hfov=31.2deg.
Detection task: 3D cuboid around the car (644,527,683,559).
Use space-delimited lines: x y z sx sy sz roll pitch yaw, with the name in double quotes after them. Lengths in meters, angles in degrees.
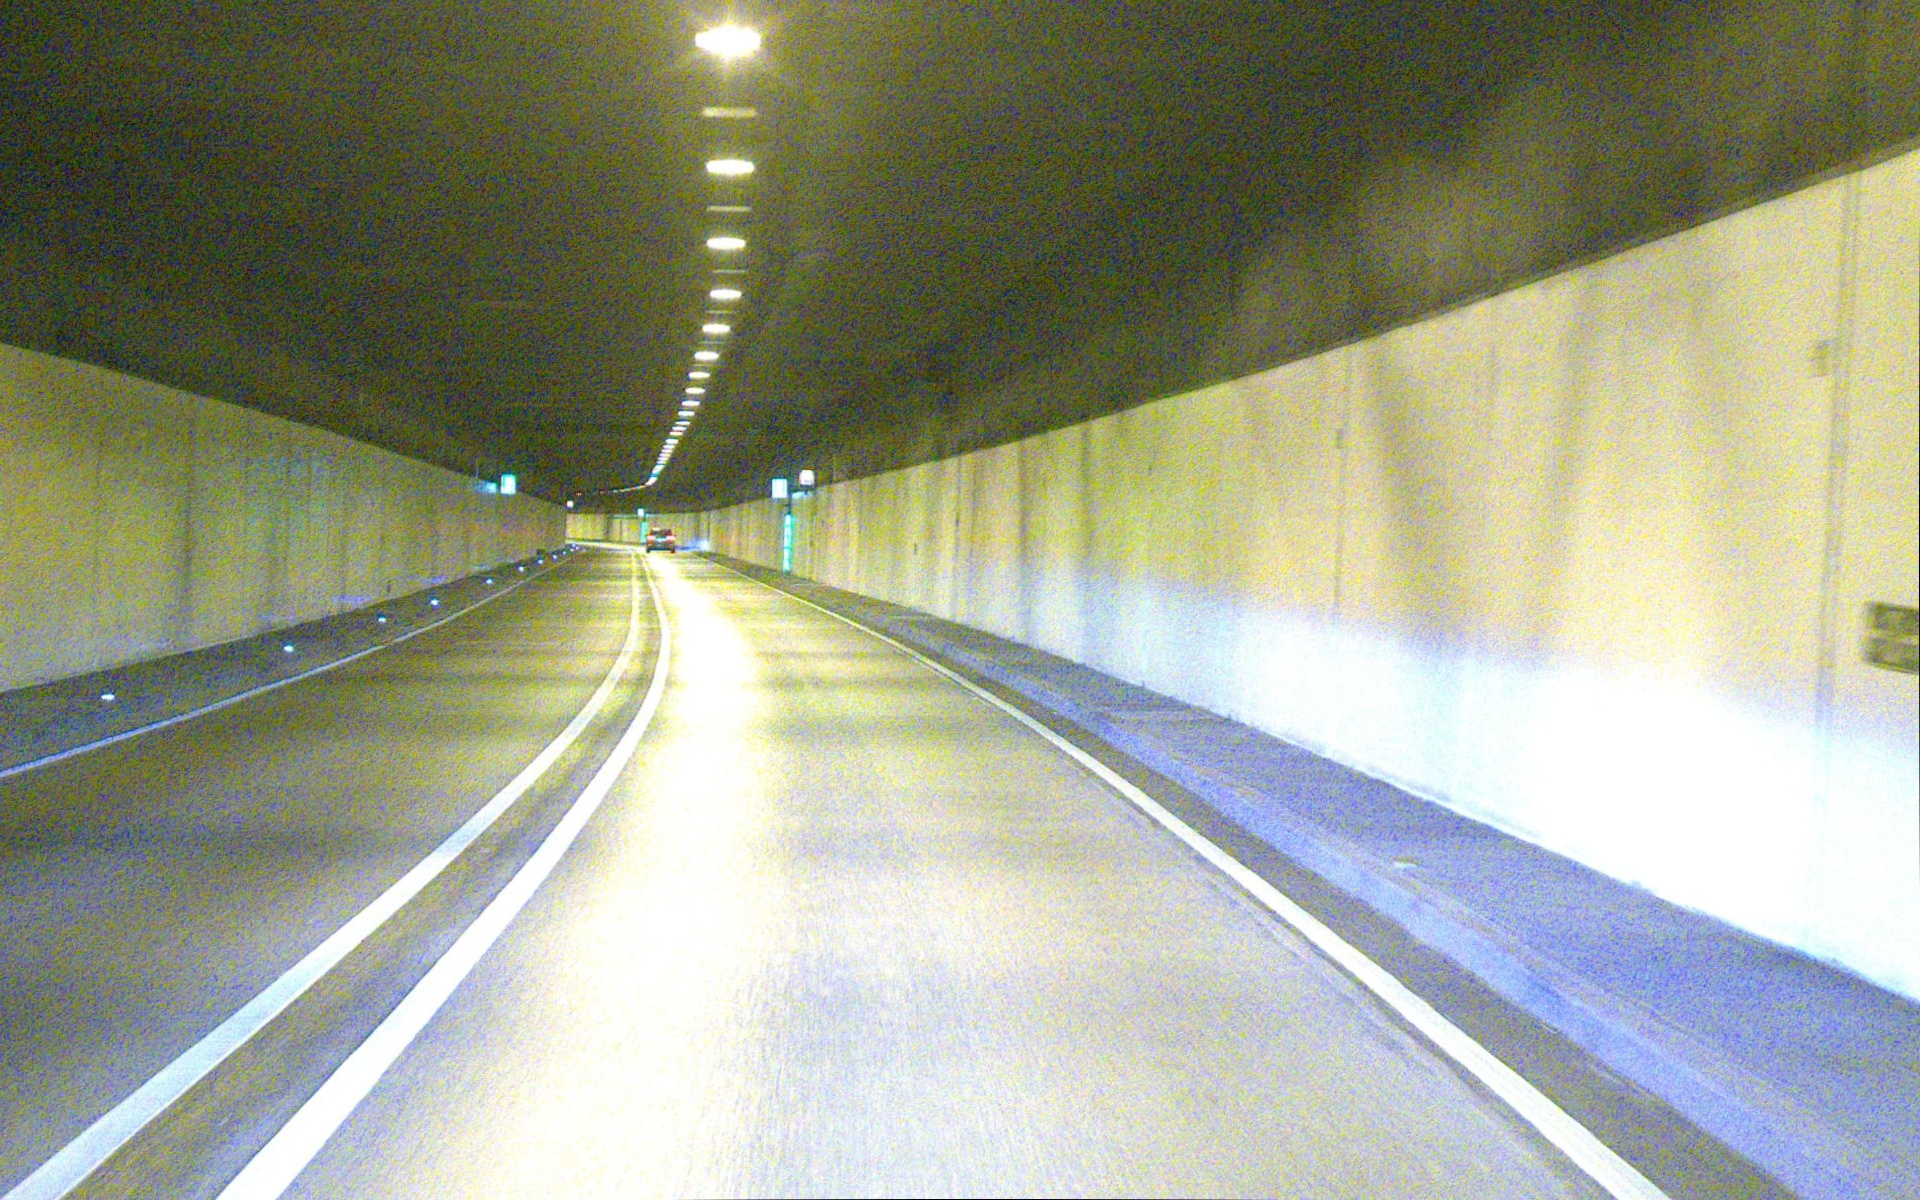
-18.994 -3.629 219.837 1.966 1.932 4.614 1 0 -11 "car"
